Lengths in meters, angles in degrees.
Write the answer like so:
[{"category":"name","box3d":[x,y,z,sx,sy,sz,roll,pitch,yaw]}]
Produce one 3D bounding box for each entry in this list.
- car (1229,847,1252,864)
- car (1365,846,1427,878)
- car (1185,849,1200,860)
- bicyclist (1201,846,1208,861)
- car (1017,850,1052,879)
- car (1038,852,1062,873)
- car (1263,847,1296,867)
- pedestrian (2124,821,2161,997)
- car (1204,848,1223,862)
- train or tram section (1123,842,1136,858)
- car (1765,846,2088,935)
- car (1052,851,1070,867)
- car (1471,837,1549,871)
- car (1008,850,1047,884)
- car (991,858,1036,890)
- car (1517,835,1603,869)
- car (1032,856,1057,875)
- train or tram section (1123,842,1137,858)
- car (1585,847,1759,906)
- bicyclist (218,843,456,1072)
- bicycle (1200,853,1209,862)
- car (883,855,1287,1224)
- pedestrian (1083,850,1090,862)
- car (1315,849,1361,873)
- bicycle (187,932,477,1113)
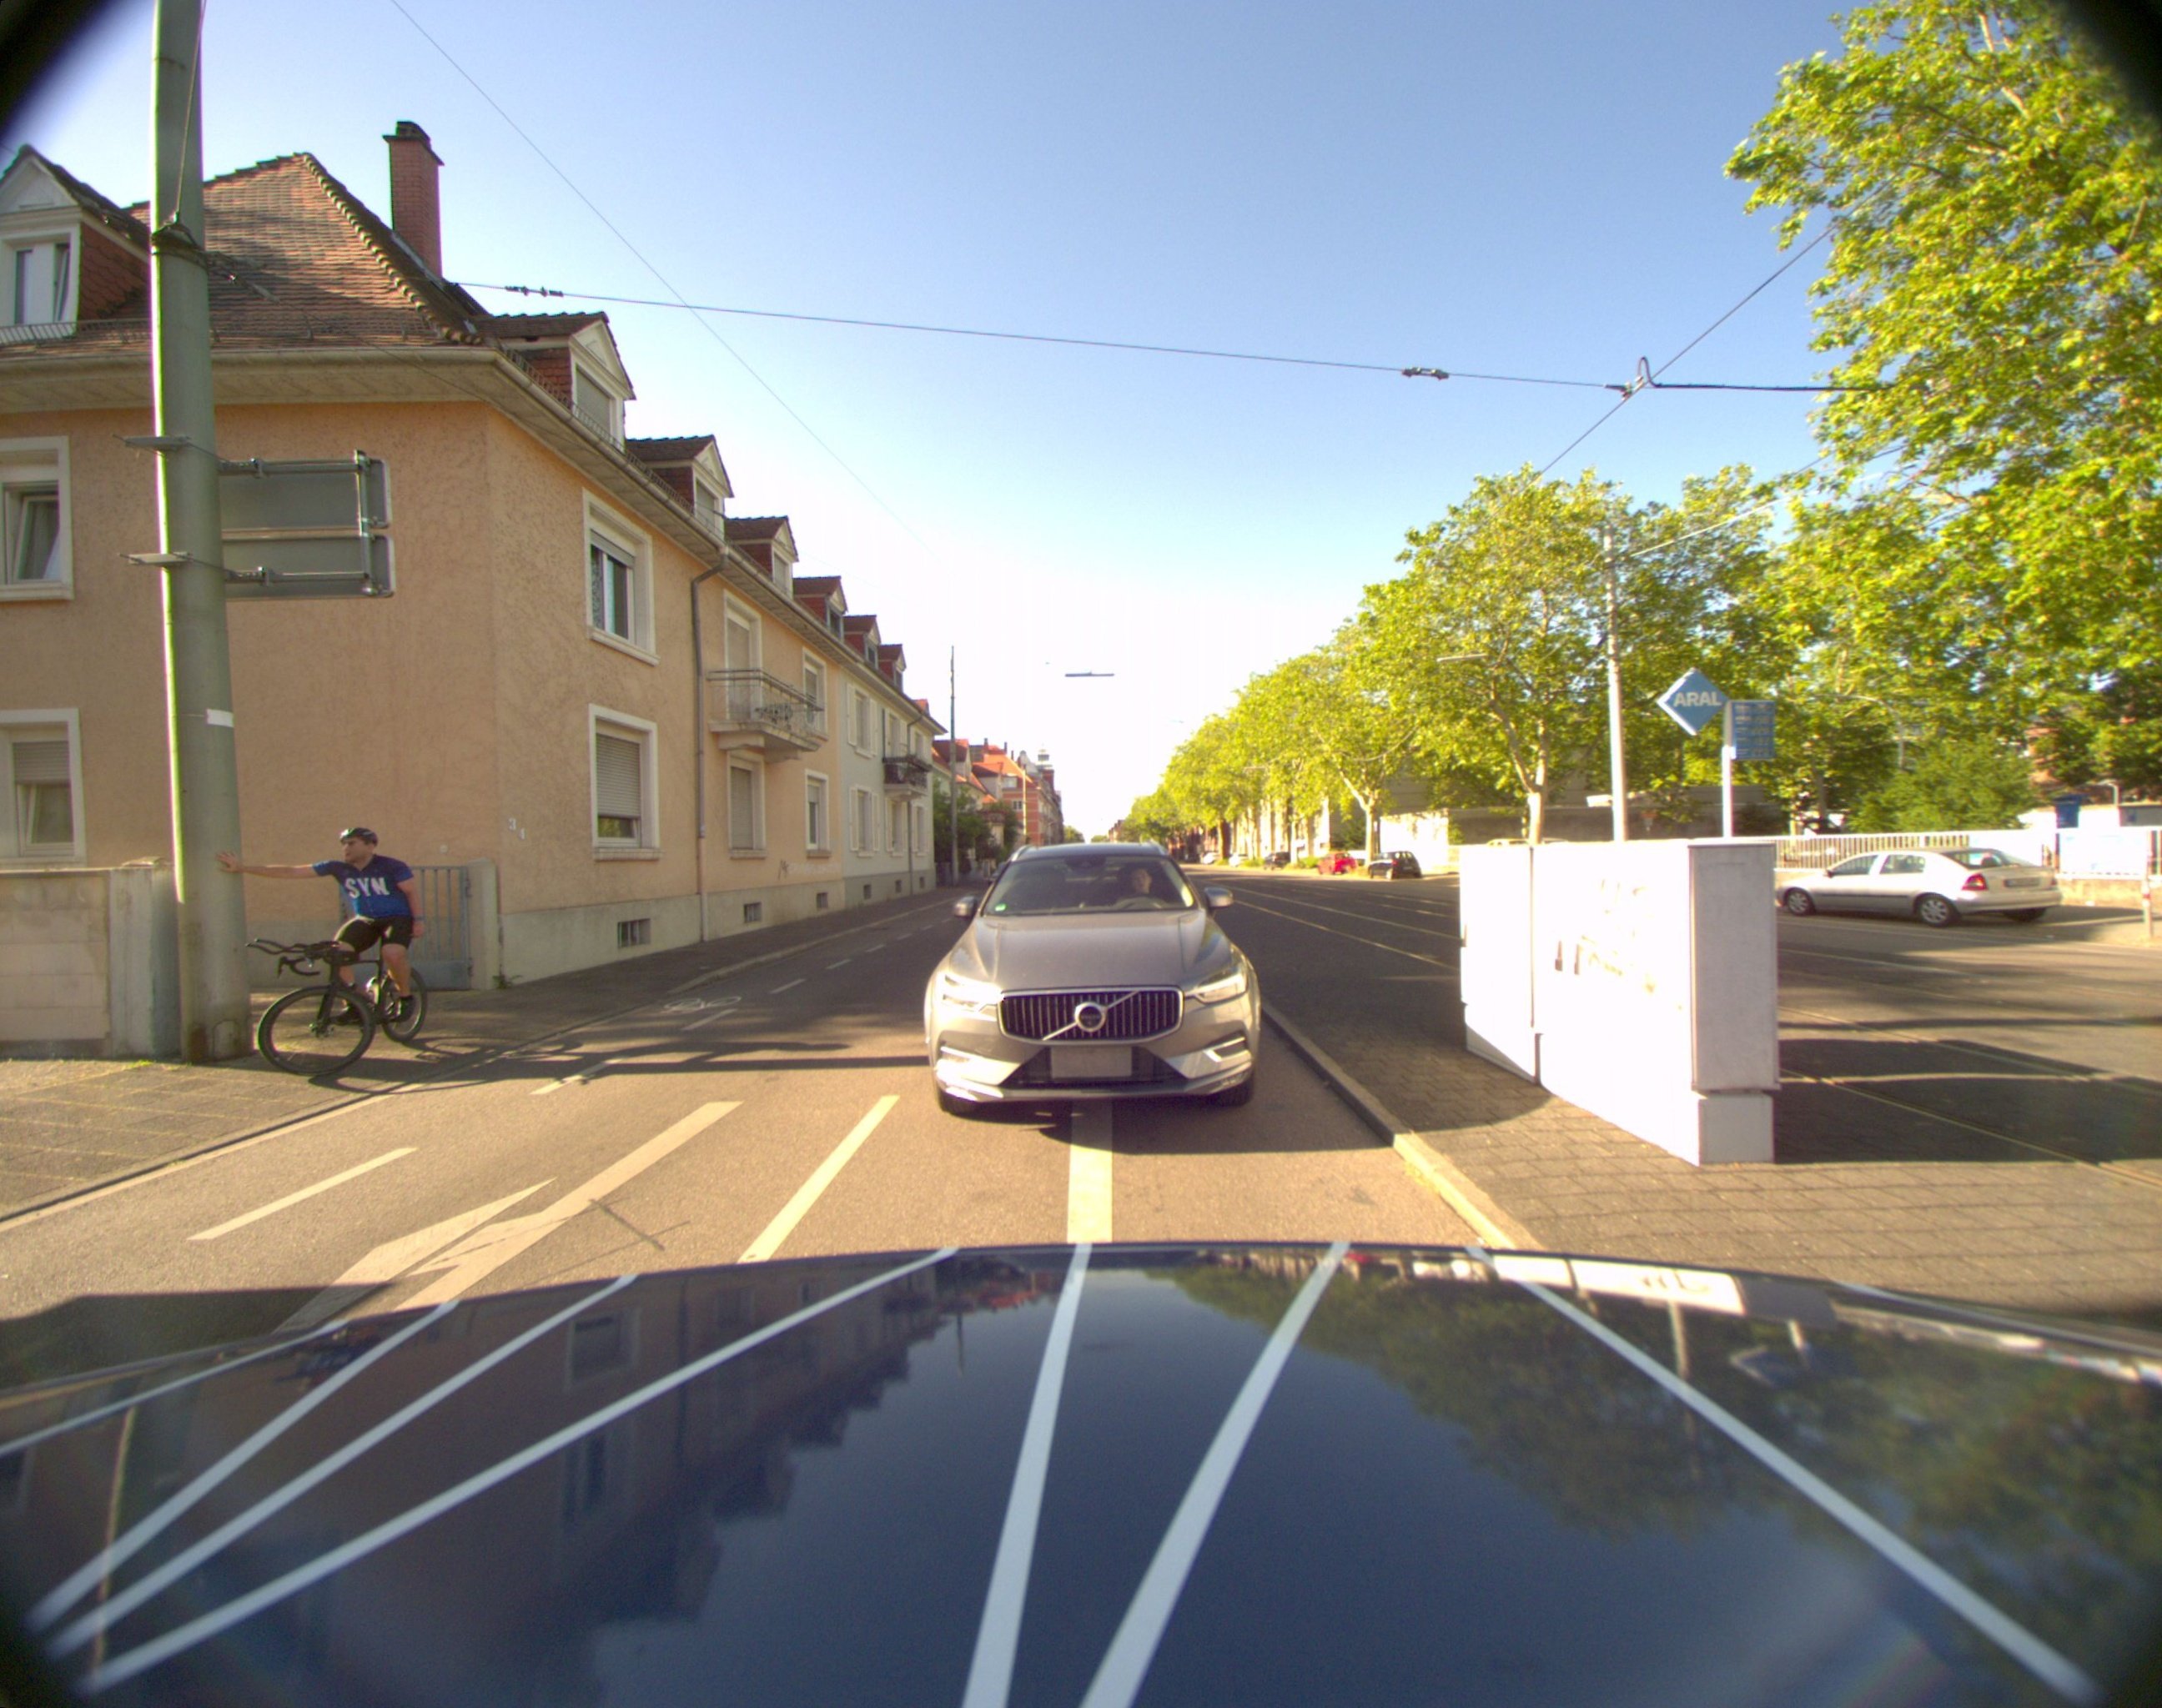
[{"category":"car","box3d":[17.490,0.115,83.538,1.845,1.664,4.098,-4,0,3]},{"category":"car","box3d":[16.966,0.405,41.081,1.845,1.524,4.001,-4,0,4]},{"category":"car","box3d":[18.369,-0.010,125.404,1.845,1.664,4.098,-4,0,3]},{"category":"bicyclist","box3d":[15.176,-0.027,93.498,0.720,1.853,1.071,-1,1,0]},{"category":"car","box3d":[-2.805,0.627,46.782,1.847,1.681,4.000,-1,0,0]},{"category":"car","box3d":[-2.675,0.690,65.763,1.847,1.681,4.000,-1,0,0]},{"category":"car","box3d":[17.169,0.221,65.890,1.845,1.607,4.098,-4,0,3]},{"category":"pedestrian","box3d":[10.403,0.507,6.751,1.103,1.610,0.717,0,1,26]},{"category":"car","box3d":[17.595,0.073,100.900,1.845,1.664,4.098,-4,0,3]},{"category":"train or tram section","box3d":[11.570,-0.988,179.110,2.842,3.456,10.184,-2,1,4]},{"category":"car","box3d":[16.235,0.614,14.971,1.846,1.400,3.999,-4,0,-1]},{"category":"car","box3d":[-2.243,0.546,85.478,1.999,1.641,4.658,-1,0,-1]},{"category":"car","box3d":[21.749,-0.030,38.708,1.845,1.524,4.001,-4,0,4]},{"category":"car","box3d":[-2.915,0.681,42.325,1.847,1.742,4.144,-1,0,0]},{"category":"car","box3d":[-3.230,0.942,36.970,1.847,1.412,3.999,-1,0,-1]},{"category":"car","box3d":[24.043,-0.113,38.331,1.845,1.524,4.000,-4,0,2]},{"category":"car","box3d":[-2.879,0.856,60.400,1.808,1.402,3.999,-1,0,-1]},{"category":"train or tram section","box3d":[10.873,-0.897,169.020,2.861,3.456,10.185,-1,0,4]},{"category":"car","box3d":[16.517,0.565,21.544,1.845,1.400,4.138,-4,0,4]},{"category":"bicyclist","box3d":[-6.171,0.805,6.368,1.071,1.728,0.853,4,1,1]},{"category":"bicycle","box3d":[15.234,0.397,93.624,0.654,1.114,2.533,-1,0,1]},{"category":"car","box3d":[0.001,0.884,5.781,1.892,1.695,4.318,-1,0,-1]},{"category":"pedestrian","box3d":[1.044,0.348,138.014,1.104,2.002,1.242,-2,1,1]},{"category":"car","box3d":[16.962,0.443,50.305,1.845,1.400,4.001,-4,0,3]},{"category":"bicycle","box3d":[-5.928,1.272,6.176,0.594,1.045,1.719,4,1,1]}]
